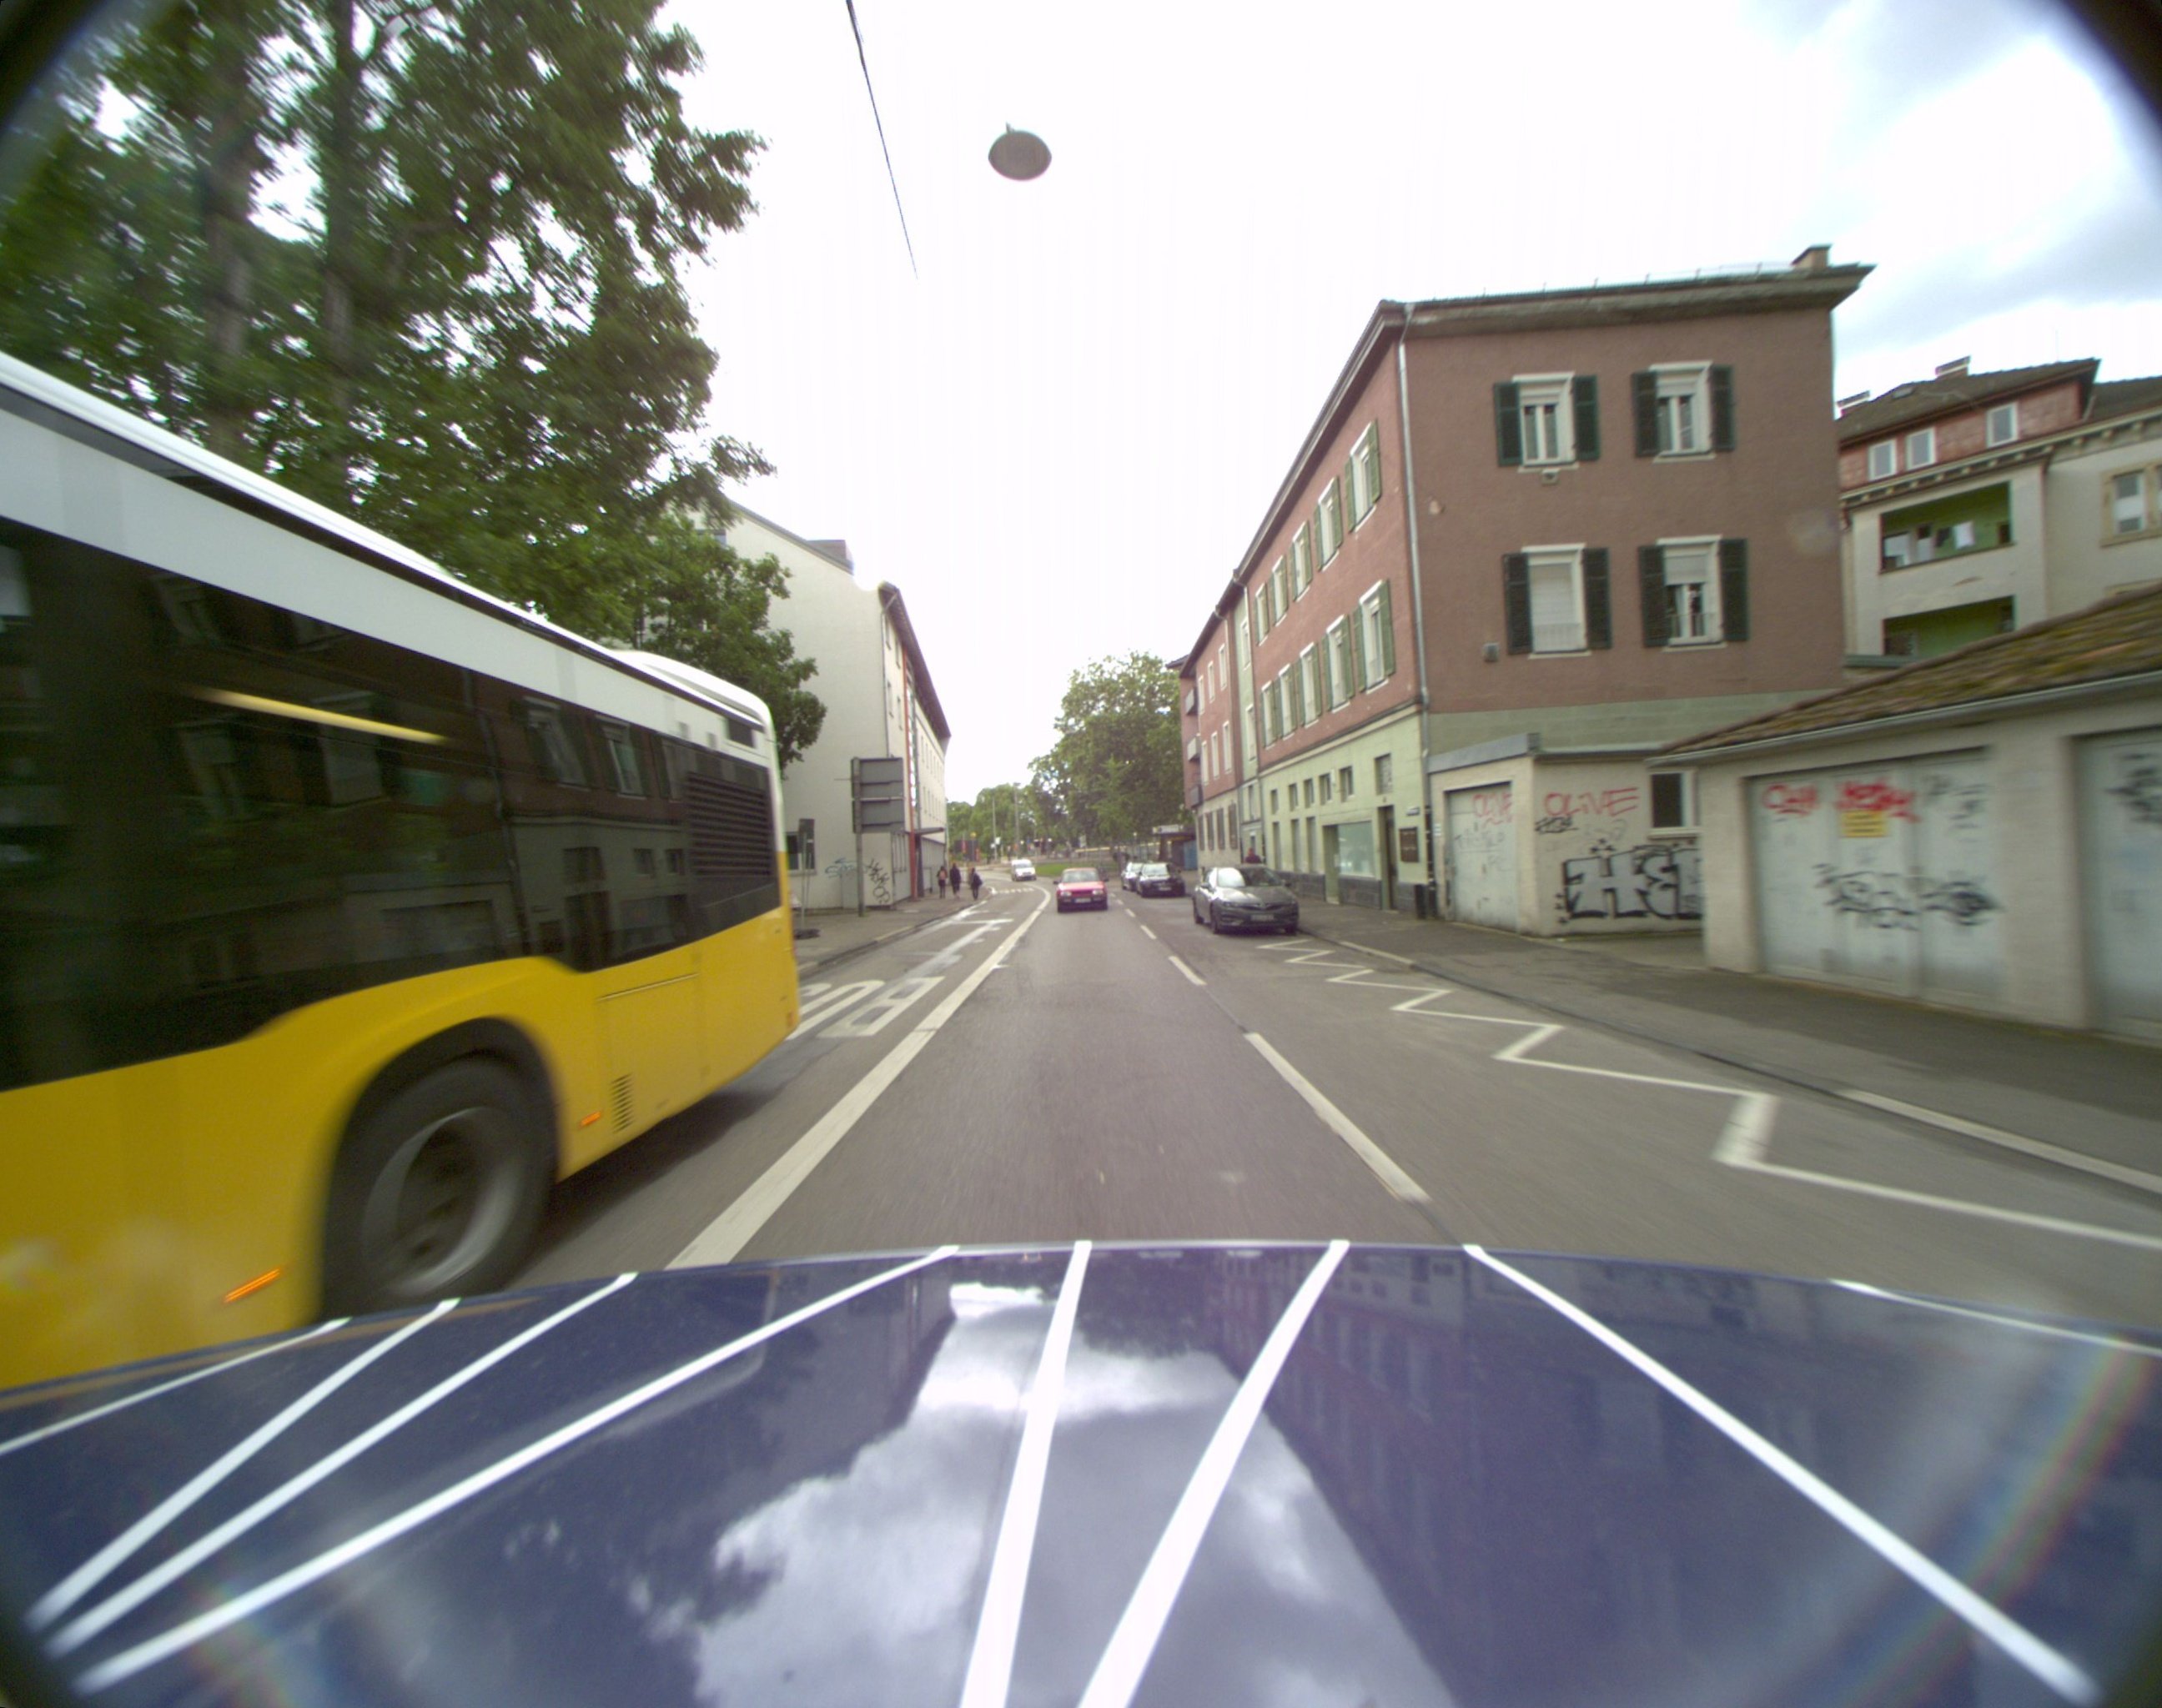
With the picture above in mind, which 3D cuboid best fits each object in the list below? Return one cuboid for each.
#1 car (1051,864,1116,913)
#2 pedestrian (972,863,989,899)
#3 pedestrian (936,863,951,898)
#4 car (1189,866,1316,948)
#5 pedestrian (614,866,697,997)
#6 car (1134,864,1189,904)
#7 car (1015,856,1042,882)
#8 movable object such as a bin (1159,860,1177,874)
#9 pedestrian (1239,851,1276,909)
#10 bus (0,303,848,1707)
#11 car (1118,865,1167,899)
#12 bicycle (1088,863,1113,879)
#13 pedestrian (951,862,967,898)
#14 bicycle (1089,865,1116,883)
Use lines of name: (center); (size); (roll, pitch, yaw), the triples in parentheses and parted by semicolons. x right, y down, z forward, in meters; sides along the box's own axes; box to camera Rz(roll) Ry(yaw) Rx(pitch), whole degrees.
car: (0.001, 1.130, 26.138); (1.850, 1.414, 4.172); (-4, -1, -4)
pedestrian: (-5.020, 1.348, 37.889); (0.805, 1.783, 0.942); (0, -1, -6)
pedestrian: (-6.844, 1.318, 37.840); (0.543, 1.746, 0.609); (-1, -1, 8)
car: (3.718, 1.091, 17.235); (1.883, 1.477, 4.127); (-5, 0, 0)
pedestrian: (-6.114, 1.079, 10.952); (0.583, 1.768, 0.821); (-5, 1, 0)
car: (3.499, 1.280, 33.706); (1.833, 1.446, 4.920); (-3, 1, 0)
car: (-4.688, 1.286, 67.411); (2.074, 1.776, 4.452); (-5, 4, -6)
movable object such as a bin: (6.686, 1.007, 58.592); (0.674, 0.959, 1.076); (-8, 2, -43)
pedestrian: (5.550, 0.829, 23.980); (0.763, 1.733, 0.984); (-5, -1, -2)
bus: (-3.620, 0.431, 1.780); (2.669, 3.117, 10.040); (-5, 0, 1)
car: (3.111, 1.378, 39.172); (1.834, 1.446, 4.582); (-3, 1, -4)
bicycle: (1.526, 1.325, 59.385); (1.875, 1.107, 0.577); (-5, 1, -3)
pedestrian: (-6.079, 1.300, 37.902); (0.689, 1.746, 0.878); (0, -1, -6)
bicycle: (1.663, 1.514, 58.200); (1.809, 1.169, 0.723); (-5, 2, -24)
